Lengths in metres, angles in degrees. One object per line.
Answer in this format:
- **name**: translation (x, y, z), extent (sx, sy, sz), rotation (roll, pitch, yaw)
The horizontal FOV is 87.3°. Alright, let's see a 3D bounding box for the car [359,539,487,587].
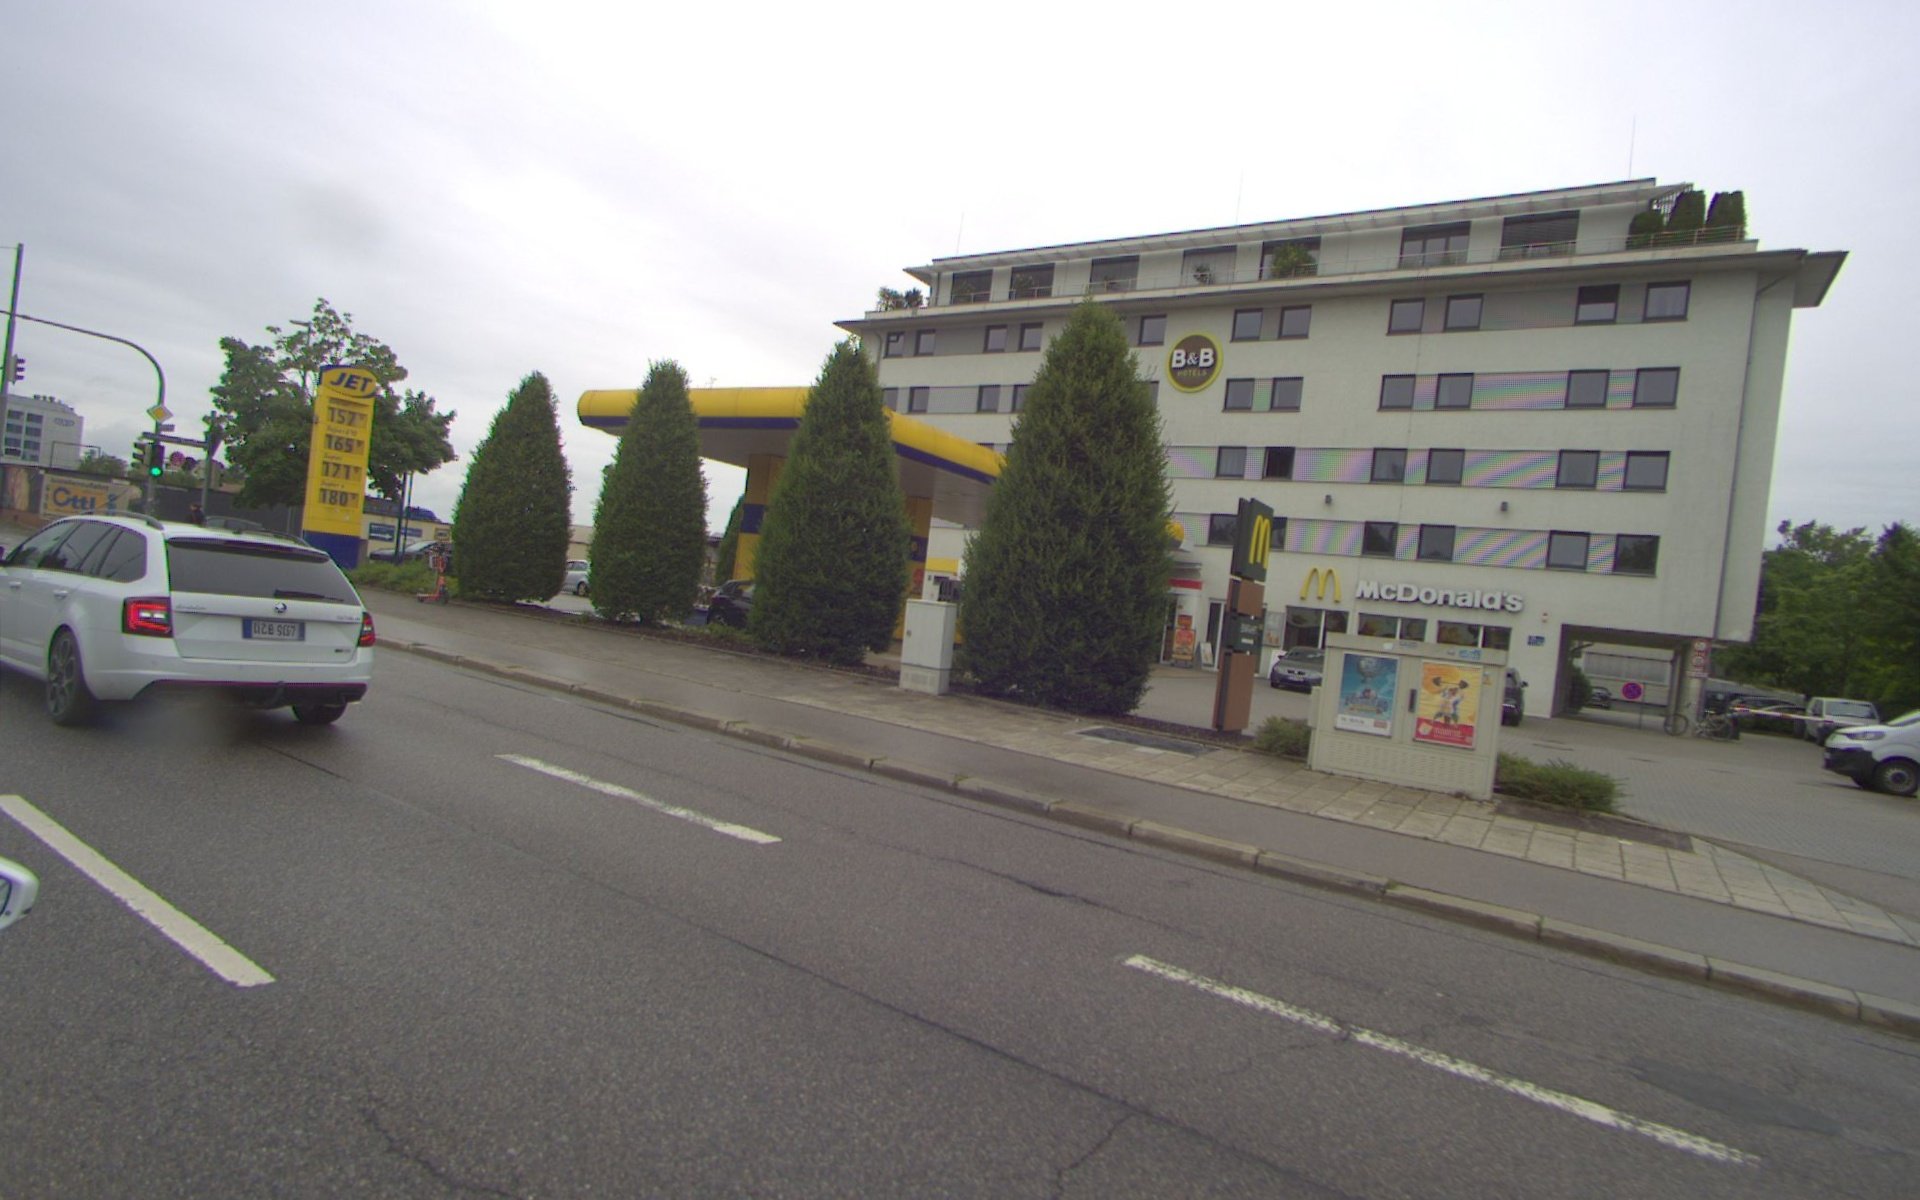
- **car**: translation (-24.217, -1.643, 45.516), extent (1.969, 1.551, 4.617), rotation (7, 0, 36)

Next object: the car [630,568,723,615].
- **car**: translation (-12.161, -0.373, 43.111), extent (3.916, 1.503, 1.625), rotation (6, -1, 35)

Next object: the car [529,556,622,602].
- **car**: translation (-16.772, -0.933, 43.828), extent (3.912, 1.503, 1.626), rotation (7, -1, 32)

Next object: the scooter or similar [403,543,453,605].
- **scooter or similar**: translation (-11.838, -0.587, 22.368), extent (1.522, 1.259, 0.355), rotation (6, 3, 39)

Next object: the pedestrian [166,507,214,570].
- **pedestrian**: translation (-21.463, -1.705, 28.051), extent (0.676, 1.636, 0.802), rotation (7, 3, 33)

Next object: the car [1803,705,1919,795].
- **car**: translation (18.842, 3.035, 19.171), extent (3.935, 1.455, 1.827), rotation (7, -1, 33)

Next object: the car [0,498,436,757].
- **car**: translation (-6.439, 0.106, 8.155), extent (4.429, 1.485, 1.880), rotation (6, -2, 34)

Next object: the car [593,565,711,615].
- **car**: translation (-12.211, -0.386, 39.925), extent (4.284, 1.400, 1.704), rotation (7, -1, 24)

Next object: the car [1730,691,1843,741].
- **car**: translation (39.124, 5.485, 47.745), extent (3.940, 1.729, 1.651), rotation (6, -1, 38)

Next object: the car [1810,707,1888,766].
- **car**: translation (35.000, 5.342, 39.683), extent (1.695, 1.965, 3.990), rotation (7, -2, 35)

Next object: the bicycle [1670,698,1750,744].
- **bicycle**: translation (23.365, 3.751, 31.374), extent (1.841, 1.129, 0.449), rotation (7, -1, 24)

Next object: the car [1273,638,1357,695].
- **car**: translation (11.869, 2.239, 33.493), extent (1.678, 1.606, 3.992), rotation (7, -1, 32)

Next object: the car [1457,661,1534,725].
- **car**: translation (16.342, 2.821, 30.610), extent (1.678, 1.606, 3.992), rotation (7, -1, 32)

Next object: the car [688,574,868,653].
- **car**: translation (-4.352, 0.307, 23.914), extent (3.934, 1.348, 1.797), rotation (7, -2, 32)

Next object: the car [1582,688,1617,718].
- **car**: translation (46.914, 7.560, 73.848), extent (1.967, 1.837, 3.994), rotation (7, -2, 32)

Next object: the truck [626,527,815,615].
- **truck**: translation (-13.965, -1.544, 60.137), extent (2.569, 3.903, 11.897), rotation (7, 0, 36)

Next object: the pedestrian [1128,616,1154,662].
- **pedestrian**: translation (7.336, 1.578, 40.809), extent (0.632, 1.749, 0.708), rotation (7, -1, 30)

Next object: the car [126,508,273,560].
- **car**: translation (-30.424, -2.629, 40.342), extent (1.969, 1.445, 4.250), rotation (7, 0, 36)
